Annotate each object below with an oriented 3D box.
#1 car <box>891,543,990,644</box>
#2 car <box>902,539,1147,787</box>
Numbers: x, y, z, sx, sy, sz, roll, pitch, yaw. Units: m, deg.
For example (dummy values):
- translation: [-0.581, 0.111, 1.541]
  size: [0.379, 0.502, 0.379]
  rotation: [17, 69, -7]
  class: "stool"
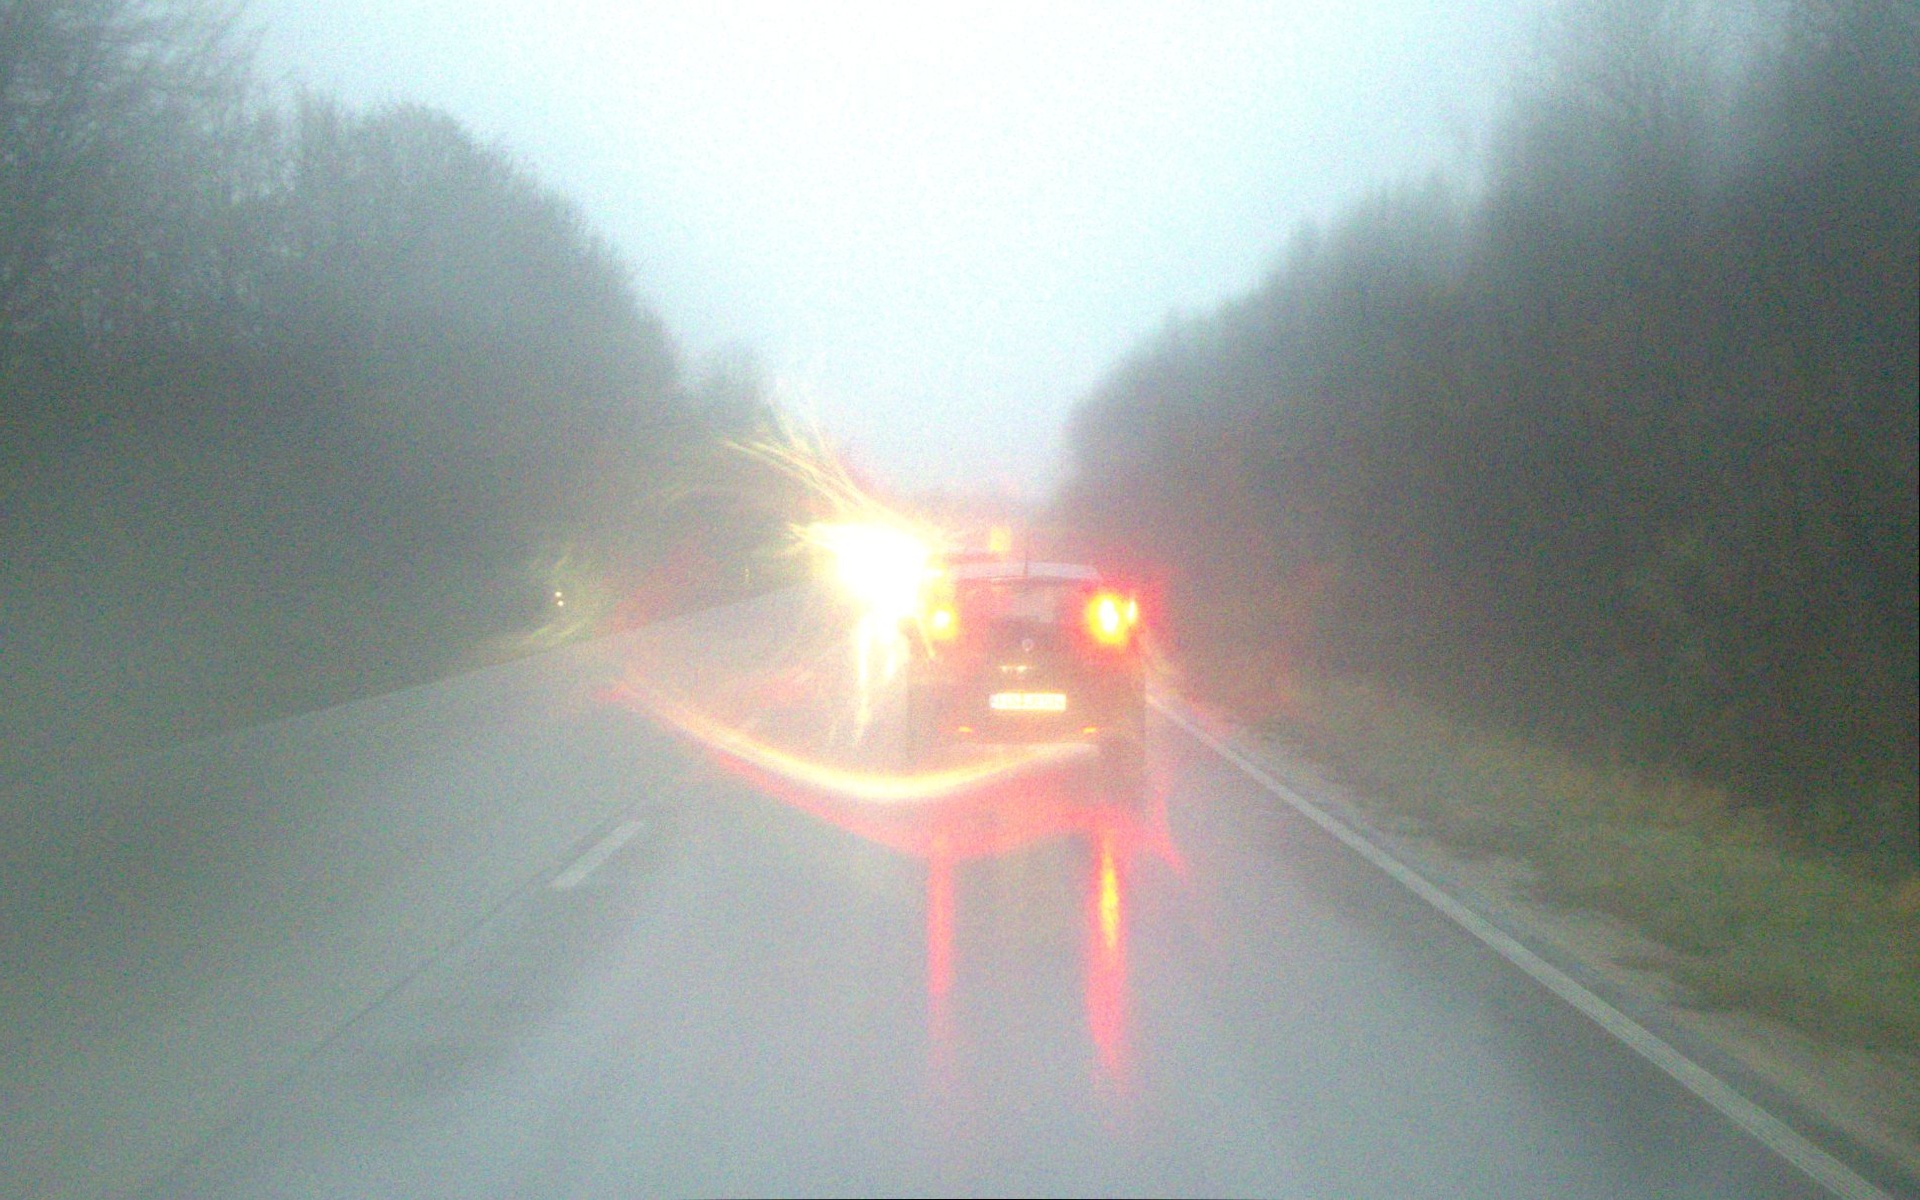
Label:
- translation: [-0.352, -0.148, 62.905]
  size: [1.733, 1.773, 4.000]
  rotation: [1, 1, 0]
  class: "car"
- translation: [0.480, 0.407, 25.129]
  size: [1.648, 1.666, 3.514]
  rotation: [1, 1, 1]
  class: "car"
